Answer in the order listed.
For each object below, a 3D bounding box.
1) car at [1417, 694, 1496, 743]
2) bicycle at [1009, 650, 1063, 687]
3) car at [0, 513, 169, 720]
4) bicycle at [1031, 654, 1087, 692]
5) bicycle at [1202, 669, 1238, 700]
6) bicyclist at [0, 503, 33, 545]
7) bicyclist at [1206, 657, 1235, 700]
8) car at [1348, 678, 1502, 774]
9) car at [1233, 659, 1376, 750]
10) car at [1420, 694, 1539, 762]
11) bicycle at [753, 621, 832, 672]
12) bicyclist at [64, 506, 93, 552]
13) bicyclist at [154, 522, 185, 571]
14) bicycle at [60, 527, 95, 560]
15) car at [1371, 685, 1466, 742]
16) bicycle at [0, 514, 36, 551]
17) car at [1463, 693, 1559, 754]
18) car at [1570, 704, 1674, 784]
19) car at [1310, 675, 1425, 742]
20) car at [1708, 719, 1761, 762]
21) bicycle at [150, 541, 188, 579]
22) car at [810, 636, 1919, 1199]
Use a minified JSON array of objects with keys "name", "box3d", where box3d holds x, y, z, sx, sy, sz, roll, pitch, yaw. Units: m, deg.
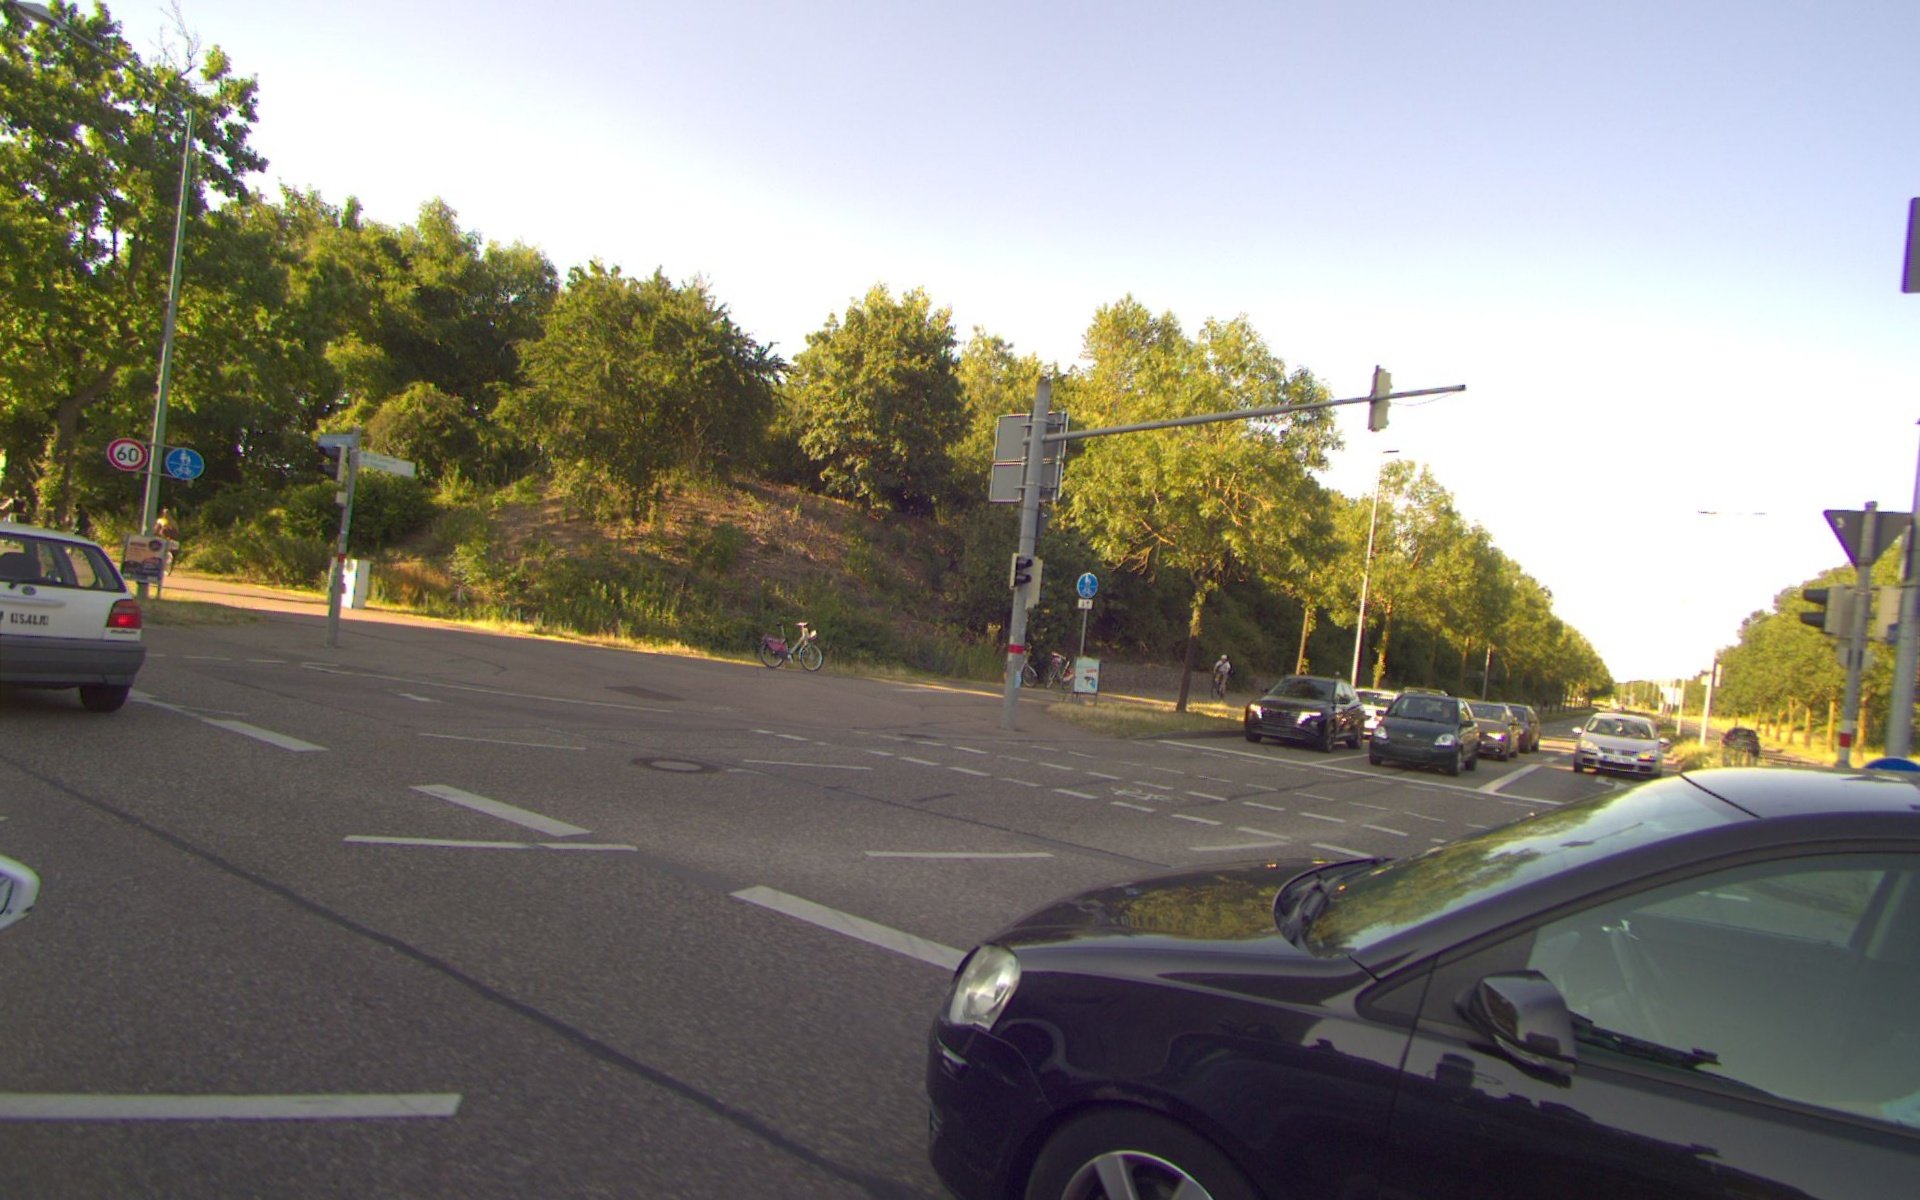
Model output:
[{"name":"car","box3d":[20.136,4.813,40.722,2.010,1.585,4.331,5,-4,37]},{"name":"bicycle","box3d":[2.449,2.203,32.145,0.631,0.991,1.788,5,-4,45]},{"name":"car","box3d":[-8.331,-0.020,8.143,3.994,1.429,1.582,5,-3,31]},{"name":"bicycle","box3d":[3.087,2.279,31.279,1.788,0.991,0.631,10,-2,-45]},{"name":"bicycle","box3d":[10.689,3.491,41.349,0.808,1.124,2.018,5,-3,31]},{"name":"bicyclist","box3d":[-32.024,-2.583,34.119,0.821,1.331,0.545,5,-2,31]},{"name":"bicyclist","box3d":[10.678,3.225,41.249,0.780,1.612,0.859,5,-2,31]},{"name":"car","box3d":[9.610,2.595,20.613,1.970,1.547,3.990,5,-4,37]},{"name":"car","box3d":[8.022,2.454,23.202,1.835,1.712,3.990,5,-4,37]},{"name":"car","box3d":[13.831,3.408,26.651,2.010,1.423,4.331,5,-4,37]},{"name":"bicycle","box3d":[-3.887,1.097,23.378,1.656,1.004,0.571,7,2,-42]},{"name":"bicyclist","box3d":[-27.034,-2.174,30.848,0.452,1.323,0.428,5,-2,32]},{"name":"bicyclist","box3d":[-21.213,-1.432,27.003,0.452,1.248,0.428,5,-1,32]},{"name":"bicycle","box3d":[-27.025,-1.731,30.803,1.010,0.924,0.438,5,-3,32]},{"name":"car","box3d":[15.973,3.954,34.910,2.010,1.585,4.331,5,-4,37]},{"name":"bicycle","box3d":[-32.078,-2.303,34.117,1.595,1.125,0.566,5,-3,32]},{"name":"car","box3d":[17.824,4.006,32.433,2.010,1.585,4.331,5,-4,37]},{"name":"car","box3d":[16.040,3.467,24.496,1.860,1.547,3.995,5,-4,32]},{"name":"car","box3d":[12.105,3.236,29.726,2.010,1.585,4.331,5,-4,37]},{"name":"car","box3d":[45.854,8.307,59.644,1.968,2.202,3.995,5,-3,33]},{"name":"bicycle","box3d":[-21.235,-1.068,27.000,1.010,0.926,0.438,5,0,32]},{"name":"car","box3d":[1.671,1.024,2.136,3.621,1.425,1.621,5,-3,30]}]
